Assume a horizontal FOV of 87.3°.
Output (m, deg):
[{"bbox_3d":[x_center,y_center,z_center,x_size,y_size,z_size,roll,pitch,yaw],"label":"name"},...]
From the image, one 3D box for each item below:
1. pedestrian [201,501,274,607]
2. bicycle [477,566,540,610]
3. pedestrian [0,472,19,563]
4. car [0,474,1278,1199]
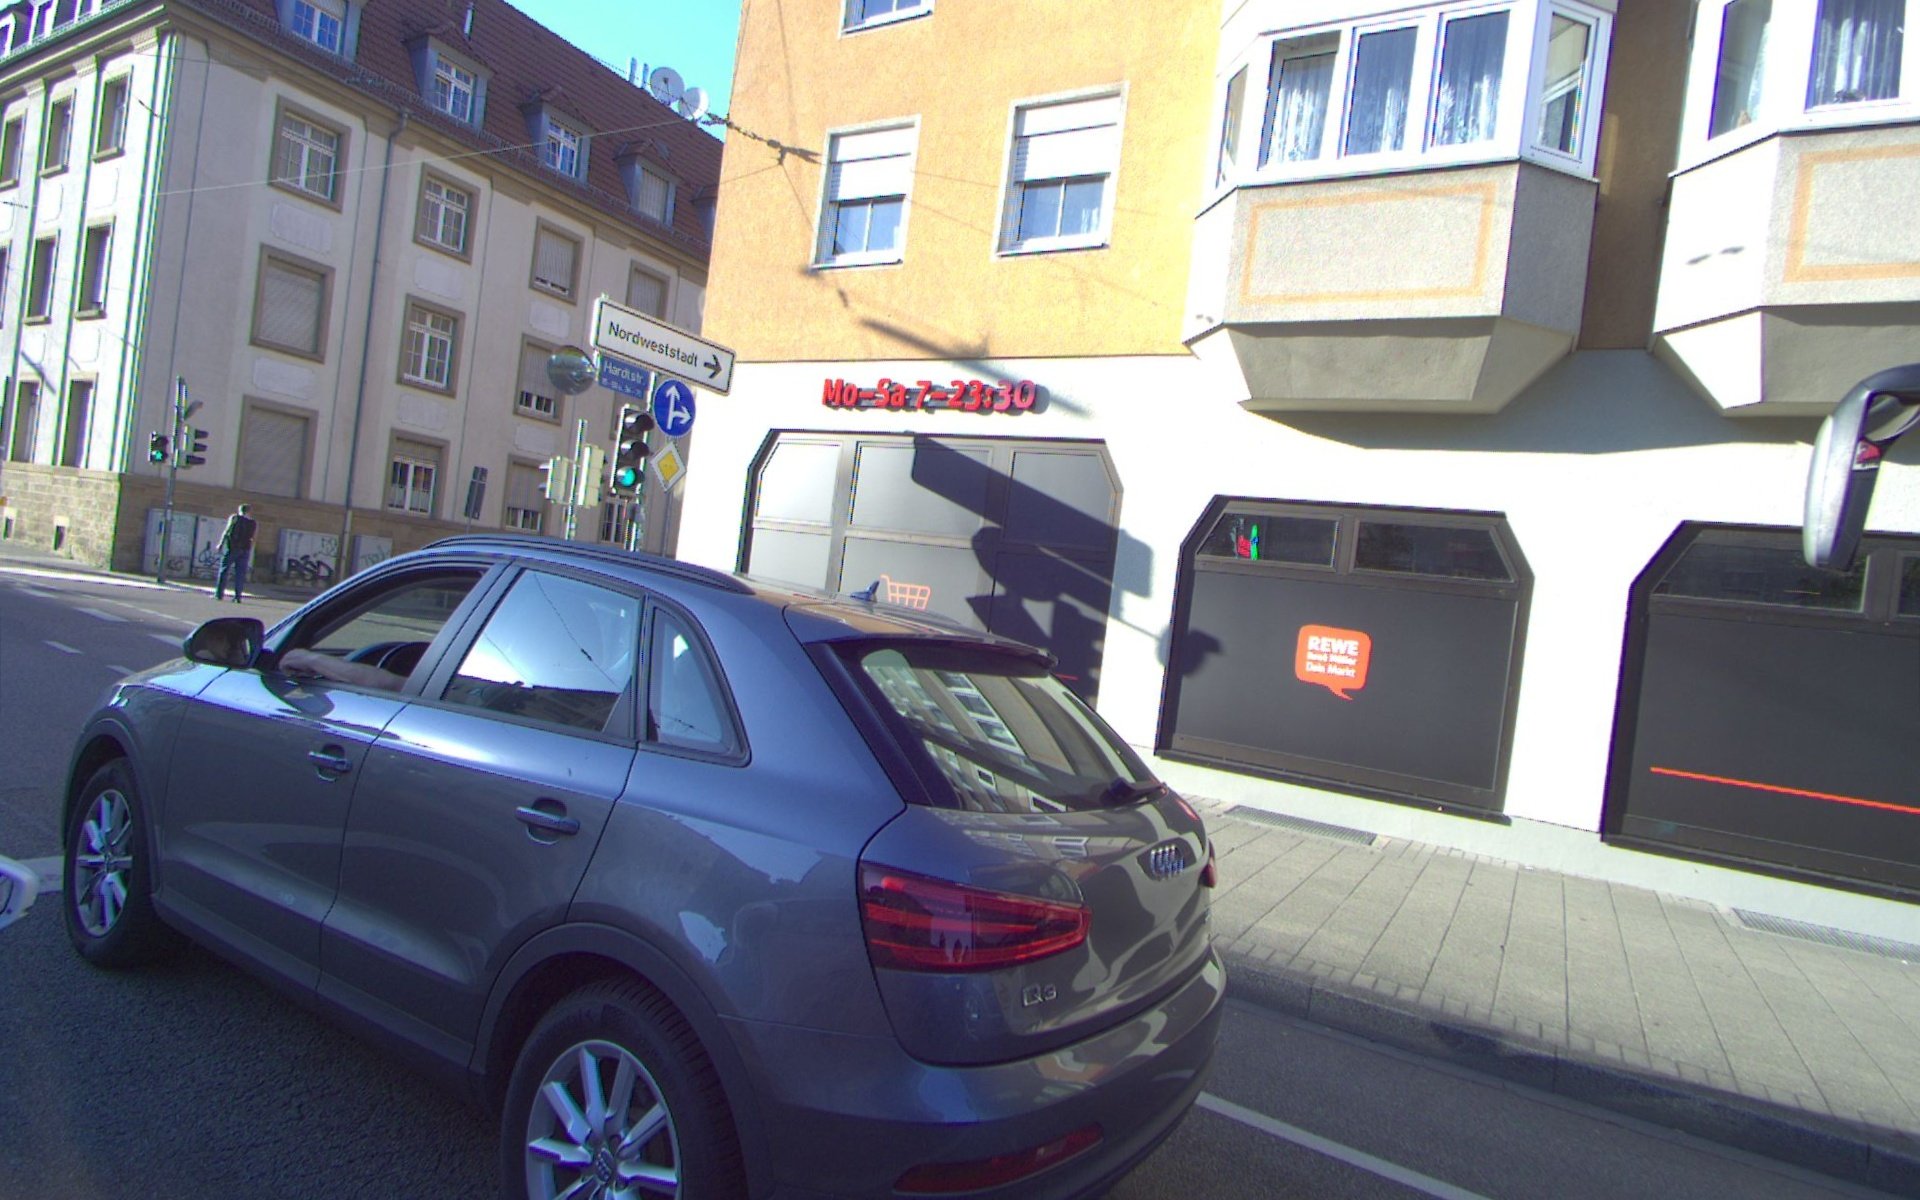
[{"bbox_3d":[-12.936,-0.822,18.016,0.812,1.778,0.630,6,-1,32],"label":"pedestrian"},{"bbox_3d":[-12.516,-0.322,27.929,1.499,1.029,0.247,9,-2,-43],"label":"bicycle"},{"bbox_3d":[-19.610,-1.710,20.108,0.810,1.783,0.837,6,-1,31],"label":"pedestrian"},{"bbox_3d":[-1.340,0.613,3.358,4.155,1.570,1.701,7,-2,32],"label":"car"}]
